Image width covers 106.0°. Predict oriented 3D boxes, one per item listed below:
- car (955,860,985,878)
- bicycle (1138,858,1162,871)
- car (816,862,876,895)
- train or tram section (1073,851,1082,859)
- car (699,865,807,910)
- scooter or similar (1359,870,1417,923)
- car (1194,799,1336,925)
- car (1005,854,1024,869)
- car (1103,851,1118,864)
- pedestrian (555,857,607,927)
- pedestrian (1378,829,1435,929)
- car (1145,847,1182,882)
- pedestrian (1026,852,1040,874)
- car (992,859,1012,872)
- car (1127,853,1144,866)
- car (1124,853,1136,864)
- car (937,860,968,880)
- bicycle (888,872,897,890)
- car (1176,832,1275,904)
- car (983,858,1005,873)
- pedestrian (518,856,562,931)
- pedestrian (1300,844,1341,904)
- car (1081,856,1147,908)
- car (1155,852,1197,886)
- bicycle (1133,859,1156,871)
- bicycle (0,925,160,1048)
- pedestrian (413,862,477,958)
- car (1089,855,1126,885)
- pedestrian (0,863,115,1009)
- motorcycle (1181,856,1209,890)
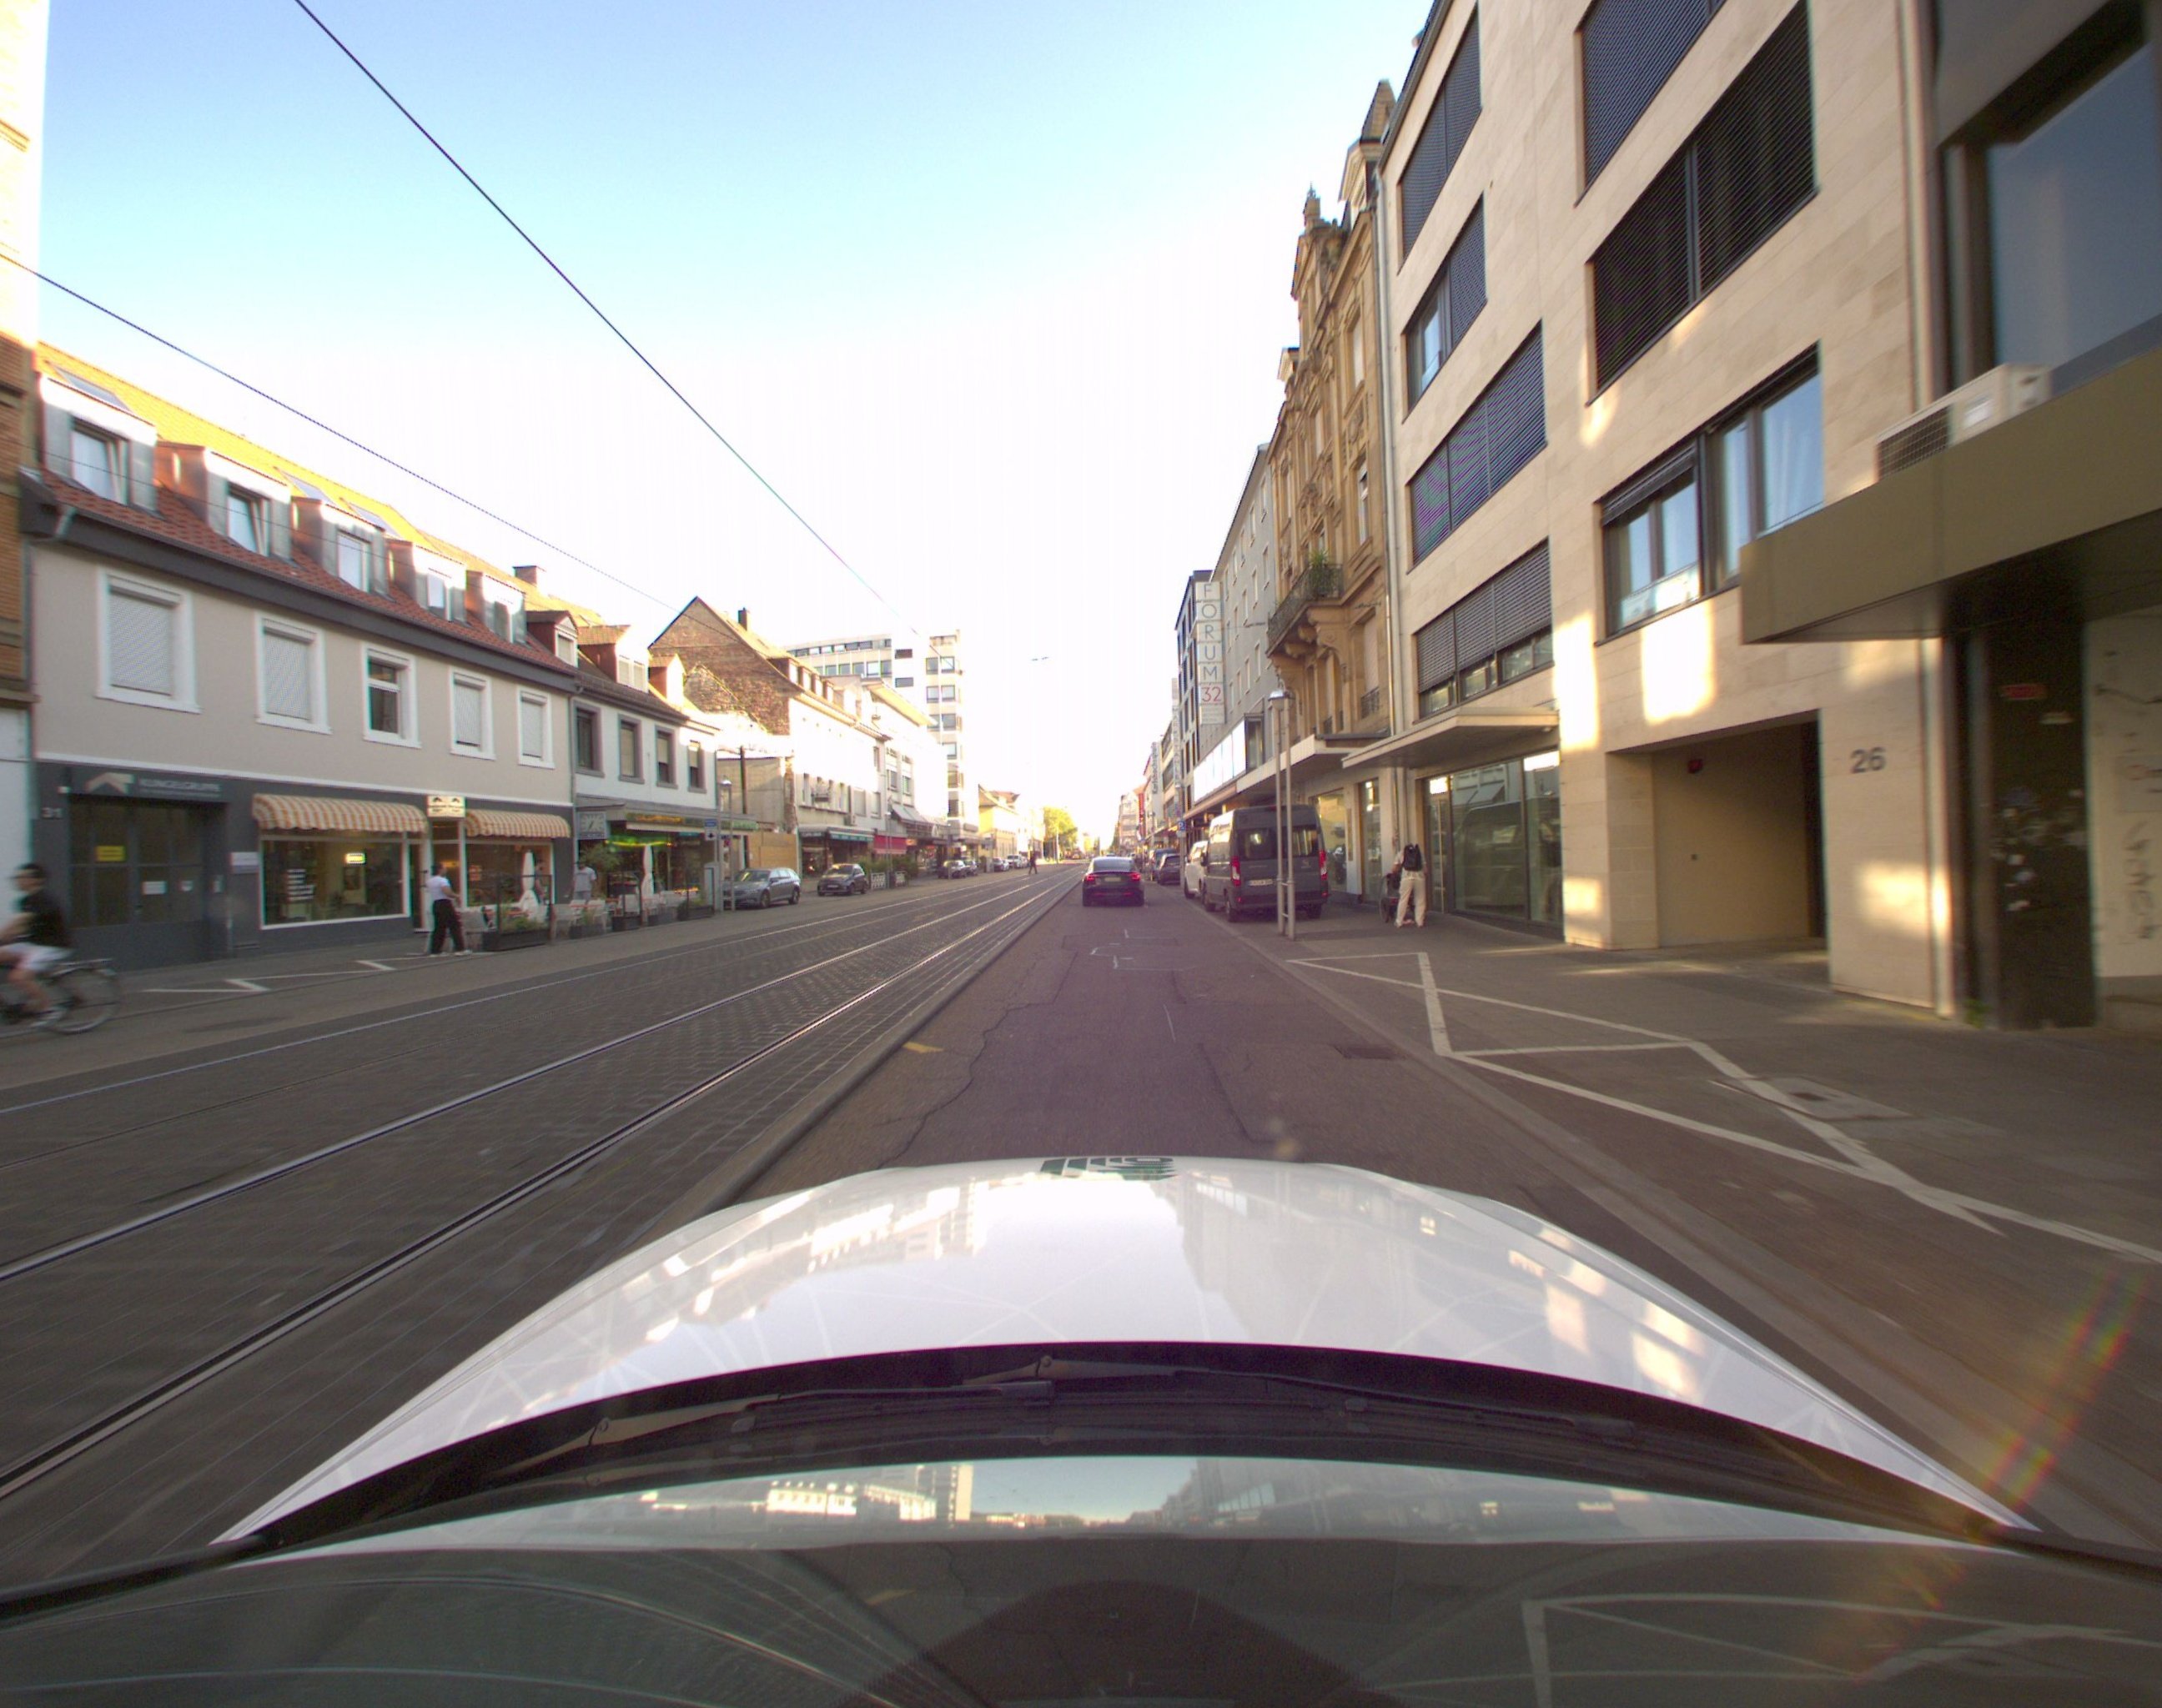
[{"bbox_3d":[-10.122,1.379,74.482,1.761,1.508,3.866,-2,0,6],"label":"car"},{"bbox_3d":[6.517,0.987,77.186,2.153,1.097,0.686,-2,0,-1],"label":"bicycle"},{"bbox_3d":[-11.543,1.173,40.254,1.668,1.546,3.747,0,0,4],"label":"car"},{"bbox_3d":[-1.128,0.318,252.249,1.984,2.634,6.811,-1,0,5],"label":"train or tram section"},{"bbox_3d":[-12.097,1.208,30.453,1.986,1.532,4.757,0,-1,1],"label":"car"},{"bbox_3d":[5.934,0.808,15.805,0.591,0.936,1.298,-3,0,0],"label":"scooter or similar"},{"bbox_3d":[4.159,0.156,19.464,2.163,2.461,5.363,-3,0,1],"label":"car"},{"bbox_3d":[-9.058,1.026,111.048,2.001,1.961,4.726,-2,0,2],"label":"car"},{"bbox_3d":[4.443,0.552,121.810,2.077,1.870,3.756,-1,0,2],"label":"car"},{"bbox_3d":[-13.073,0.985,21.316,0.883,1.775,0.688,-1,-1,0],"label":"pedestrian"},{"bbox_3d":[5.875,0.444,14.722,0.554,1.714,0.955,-3,0,1],"label":"pedestrian"},{"bbox_3d":[4.626,0.551,46.024,1.814,1.870,3.756,-1,0,2],"label":"car"},{"bbox_3d":[-4.098,0.766,69.308,0.764,1.849,0.833,-2,-1,32],"label":"pedestrian"},{"bbox_3d":[-9.459,1.366,97.666,1.762,1.508,3.976,-2,0,4],"label":"car"},{"bbox_3d":[7.127,0.742,106.902,1.986,1.543,4.002,-1,-1,2],"label":"car"},{"bbox_3d":[8.148,0.748,135.397,1.986,1.753,4.002,-1,-1,2],"label":"car"},{"bbox_3d":[-10.745,1.319,68.359,1.762,1.508,3.867,-2,0,3],"label":"car"},{"bbox_3d":[-10.923,1.538,47.121,0.369,1.002,1.596,-2,0,-16],"label":"bicycle"},{"bbox_3d":[4.486,0.401,26.045,2.152,1.926,4.615,-5,0,-1],"label":"car"},{"bbox_3d":[-9.786,1.312,91.711,1.710,1.571,3.853,-2,0,4],"label":"car"},{"bbox_3d":[-13.575,0.974,20.441,0.655,1.823,0.642,-1,-1,-4],"label":"pedestrian"},{"bbox_3d":[6.394,0.520,21.777,0.766,1.544,0.804,-3,0,2],"label":"pedestrian"},{"bbox_3d":[1.030,0.801,25.389,1.862,1.427,4.367,-1,0,2],"label":"car"},{"bbox_3d":[4.598,0.697,39.882,1.744,1.499,3.756,-2,0,2],"label":"car"},{"bbox_3d":[6.105,1.018,78.083,2.153,1.097,0.686,-2,0,-1],"label":"bicycle"},{"bbox_3d":[-10.993,1.380,8.418,0.575,1.115,1.956,-2,0,7],"label":"bicycle"},{"bbox_3d":[-12.233,1.062,15.687,0.713,1.775,0.616,-1,-1,2],"label":"pedestrian"},{"bbox_3d":[1.329,0.794,41.742,1.755,1.419,4.355,-2,-1,1],"label":"car"},{"bbox_3d":[-10.987,0.828,8.556,0.621,1.444,0.876,-1,-1,6],"label":"pedestrian"},{"bbox_3d":[4.786,0.805,34.427,0.810,1.315,2.634,-5,-1,2],"label":"motorcycle"}]
